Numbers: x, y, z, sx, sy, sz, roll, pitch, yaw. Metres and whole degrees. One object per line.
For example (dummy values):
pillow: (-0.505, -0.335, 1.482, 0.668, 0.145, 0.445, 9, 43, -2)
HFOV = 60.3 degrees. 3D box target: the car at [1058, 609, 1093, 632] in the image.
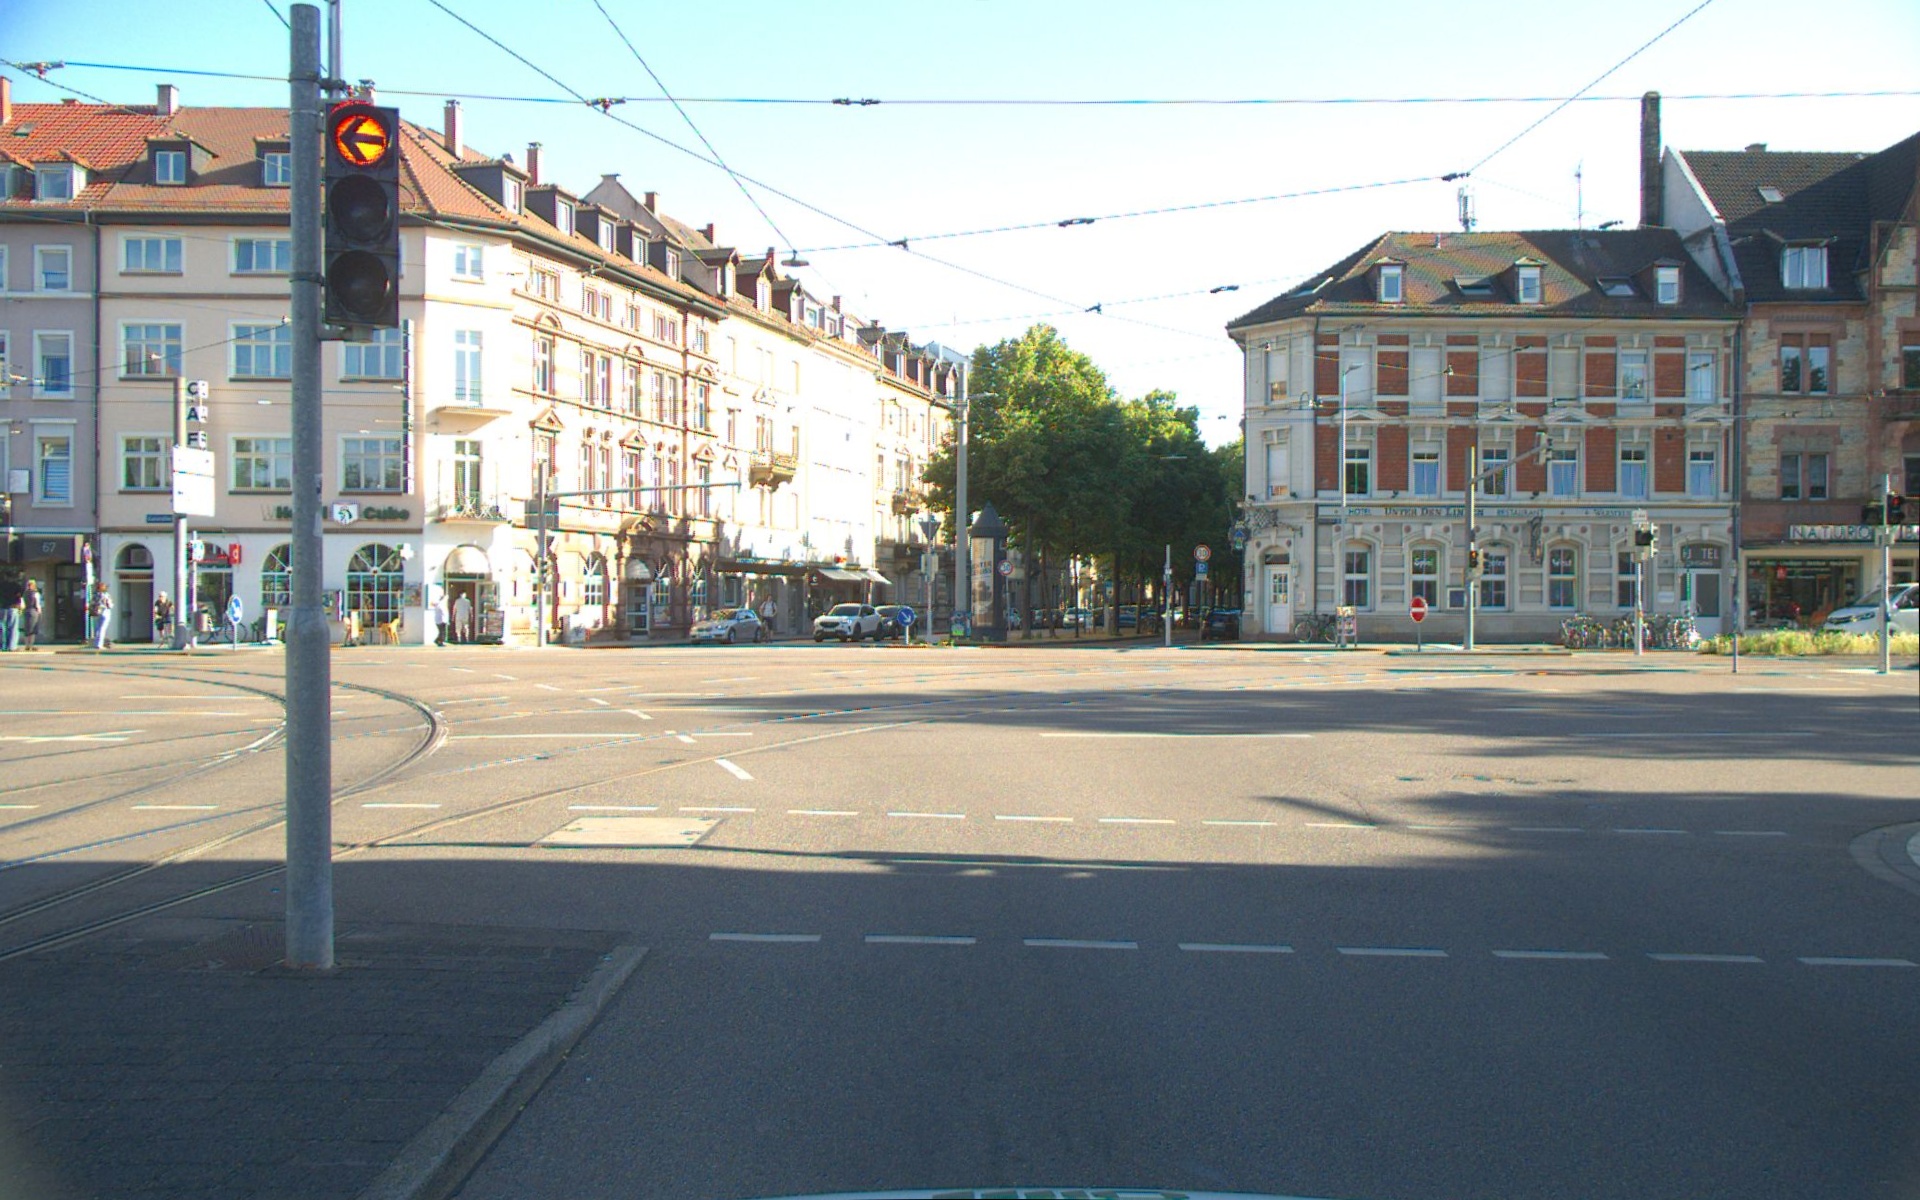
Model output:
car: (8.276, 1.477, 118.381, 1.764, 1.603, 3.893, 1, 0, 15)

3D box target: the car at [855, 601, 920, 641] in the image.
car: (-3.187, 0.933, 73.543, 1.786, 1.715, 3.877, 1, 0, 16)

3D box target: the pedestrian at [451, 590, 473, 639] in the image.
pedestrian: (-17.444, 0.515, 57.912, 0.582, 1.705, 0.492, 1, -1, -35)

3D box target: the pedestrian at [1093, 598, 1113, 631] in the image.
pedestrian: (8.774, 0.887, 101.548, 0.947, 2.049, 0.913, 1, -1, -20)

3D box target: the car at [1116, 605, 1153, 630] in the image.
car: (12.329, 1.229, 116.771, 1.951, 1.713, 4.003, 1, 0, 15)

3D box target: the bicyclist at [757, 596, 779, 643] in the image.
bicyclist: (-7.544, 0.770, 65.009, 0.553, 1.835, 0.915, 1, -1, 14)

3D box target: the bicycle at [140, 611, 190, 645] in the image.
bicycle: (-24.895, 0.868, 51.842, 0.608, 1.048, 1.755, 1, 0, 4)

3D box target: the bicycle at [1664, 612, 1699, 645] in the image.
bicycle: (23.320, 0.902, 53.475, 0.775, 1.033, 2.211, 1, 0, 17)

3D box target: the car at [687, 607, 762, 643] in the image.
car: (-9.467, 0.988, 66.849, 1.624, 1.398, 3.894, 1, 0, 14)

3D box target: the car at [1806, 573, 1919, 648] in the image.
car: (24.919, 0.278, 42.735, 5.092, 1.886, 2.000, 0, 0, 0)

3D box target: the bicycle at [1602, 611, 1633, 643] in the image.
bicycle: (21.342, 0.882, 53.696, 0.749, 1.001, 2.211, 1, 0, 17)

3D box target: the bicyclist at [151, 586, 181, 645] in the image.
bicyclist: (-24.886, 0.479, 51.850, 0.608, 1.822, 0.615, 1, -1, 4)

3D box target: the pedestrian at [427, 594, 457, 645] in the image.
pedestrian: (-17.246, 0.649, 55.071, 0.556, 1.671, 0.792, 1, -1, 22)

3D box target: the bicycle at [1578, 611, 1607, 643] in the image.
bicycle: (20.563, 0.869, 53.789, 0.749, 0.985, 2.211, 1, 0, 17)

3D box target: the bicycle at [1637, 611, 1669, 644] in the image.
bicycle: (22.457, 0.889, 53.611, 0.749, 1.025, 2.221, 1, 0, 17)

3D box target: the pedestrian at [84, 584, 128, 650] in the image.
pedestrian: (-21.224, 0.425, 41.115, 0.655, 1.622, 0.815, 1, -1, -1)

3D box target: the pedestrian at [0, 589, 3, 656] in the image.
pedestrian: (-24.307, 0.551, 41.154, 0.561, 1.677, 0.727, 1, -1, -1)

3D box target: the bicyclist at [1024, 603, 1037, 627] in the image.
bicyclist: (4.794, 1.021, 112.681, 0.659, 1.595, 0.748, 1, -1, 17)

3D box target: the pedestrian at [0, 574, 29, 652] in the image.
pedestrian: (-22.946, 0.304, 39.954, 0.516, 1.854, 0.676, 1, -1, -1)

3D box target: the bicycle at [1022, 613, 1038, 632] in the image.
bicycle: (4.786, 1.531, 112.674, 0.659, 1.228, 1.822, 1, 0, 17)

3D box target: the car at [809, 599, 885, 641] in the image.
car: (-4.544, 0.809, 67.167, 1.764, 1.613, 4.162, 1, 0, 16)

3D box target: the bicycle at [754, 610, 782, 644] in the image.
bicycle: (-7.541, 1.056, 64.999, 0.553, 1.276, 1.558, 1, 0, 14)

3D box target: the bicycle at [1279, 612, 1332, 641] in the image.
bicycle: (11.981, 0.904, 57.279, 1.764, 0.979, 0.604, 1, 0, 14)

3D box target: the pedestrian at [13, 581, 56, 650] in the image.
pedestrian: (-22.944, 0.374, 41.022, 0.571, 1.677, 0.840, 1, -1, -1)

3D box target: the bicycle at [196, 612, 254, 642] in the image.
bicycle: (-25.094, 0.917, 56.500, 1.666, 1.000, 0.611, 1, 0, -1)

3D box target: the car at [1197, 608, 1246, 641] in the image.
car: (13.098, 1.192, 82.684, 1.719, 1.583, 4.001, 1, 0, 20)

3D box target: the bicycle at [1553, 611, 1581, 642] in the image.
bicycle: (19.809, 0.857, 54.026, 0.749, 0.979, 2.211, 1, 0, 17)
